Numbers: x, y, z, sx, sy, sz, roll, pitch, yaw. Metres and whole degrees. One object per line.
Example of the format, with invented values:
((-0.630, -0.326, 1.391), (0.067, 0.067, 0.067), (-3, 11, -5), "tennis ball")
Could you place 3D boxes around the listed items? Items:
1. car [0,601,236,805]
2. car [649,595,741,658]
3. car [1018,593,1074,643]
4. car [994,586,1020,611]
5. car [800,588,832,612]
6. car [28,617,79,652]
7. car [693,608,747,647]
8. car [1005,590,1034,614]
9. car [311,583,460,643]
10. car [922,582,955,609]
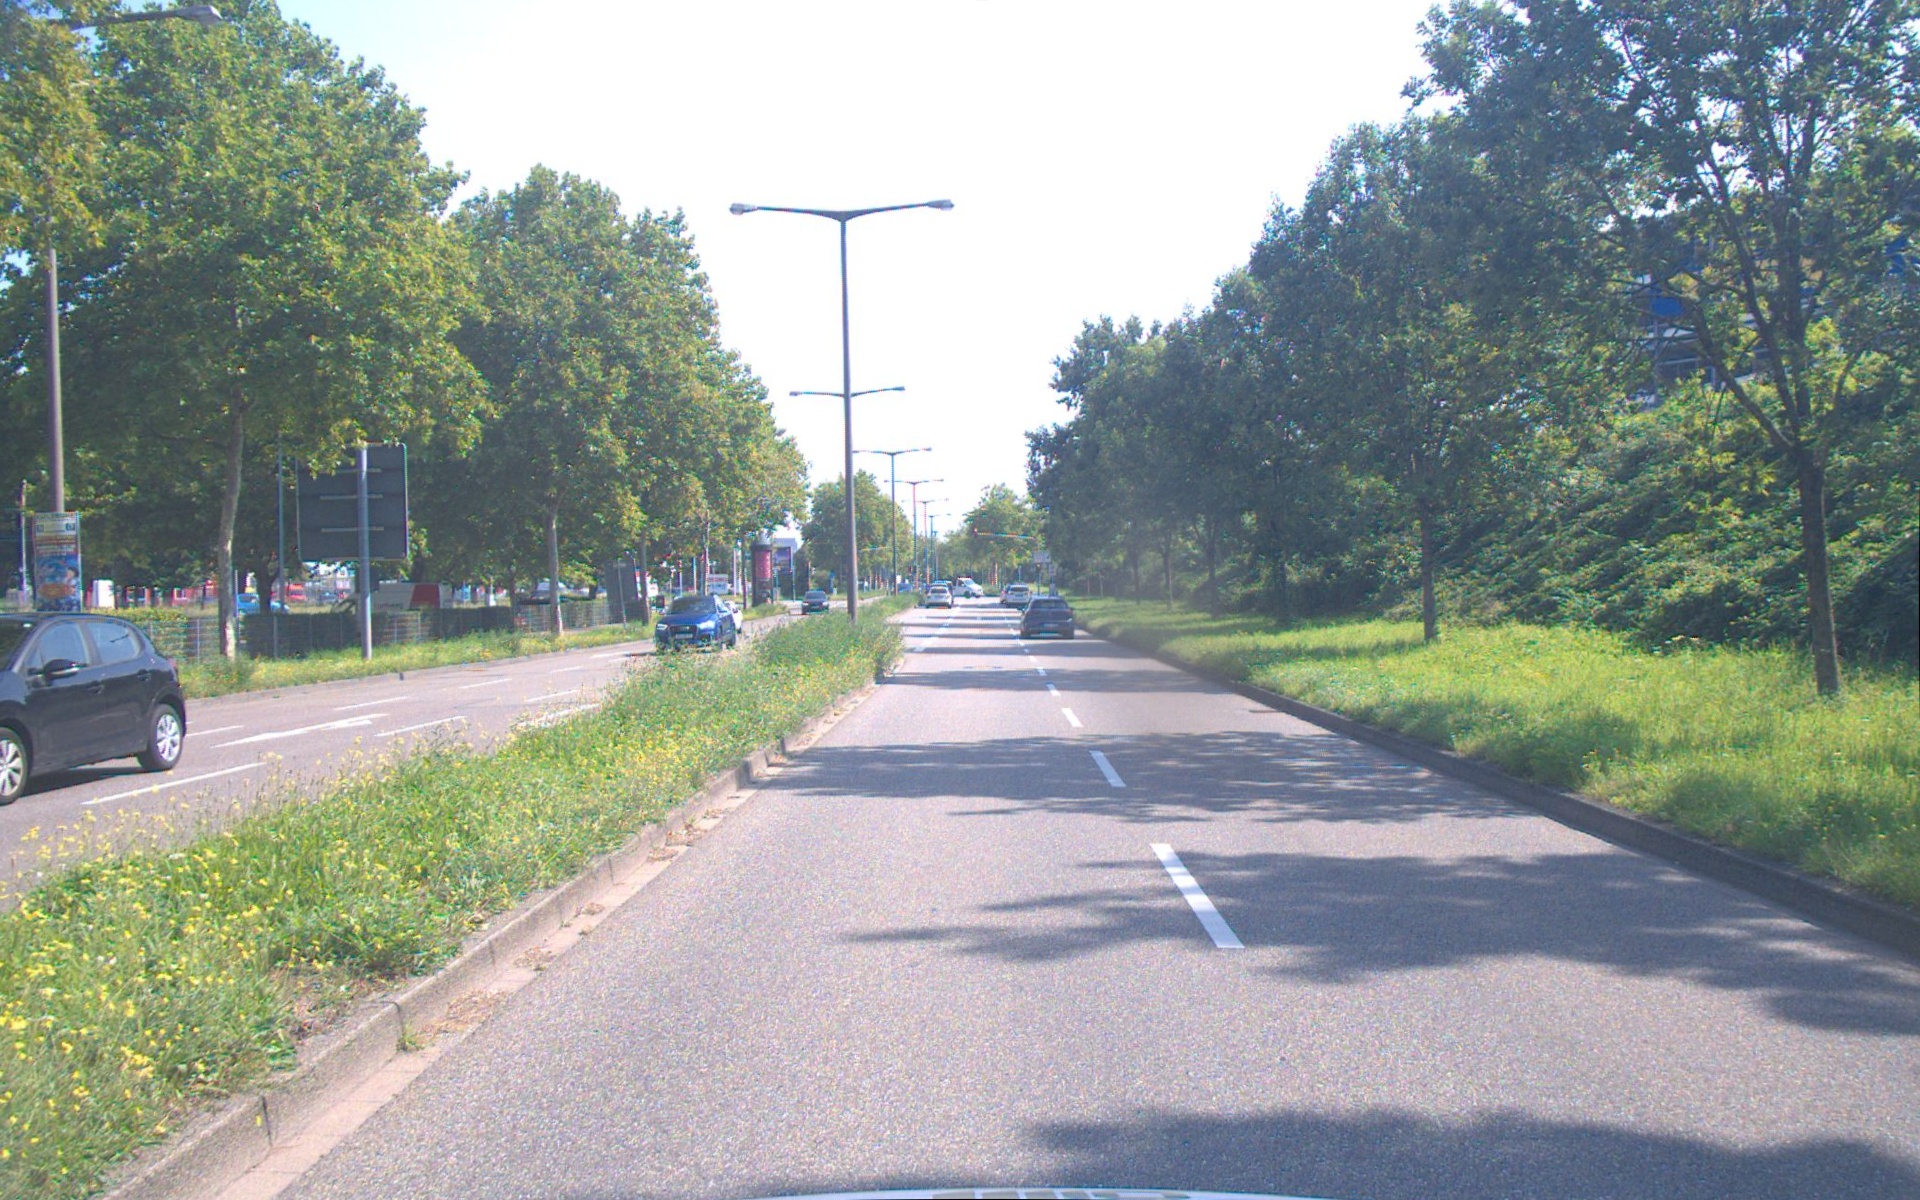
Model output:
((-8.031, 0.822, 14.099), (1.670, 1.515, 4.313), (-3, 0, 1), "car")
((-7.514, 0.706, 47.265), (1.953, 1.612, 4.345), (-3, 0, -1), "car")
((2.946, 0.589, 57.253), (1.744, 1.452, 4.002), (0, 3, 1), "car")
((3.844, -0.120, 135.462), (1.953, 1.682, 4.002), (-2, 4, -1), "car")
((-9.331, 0.011, 107.154), (1.759, 1.441, 4.408), (-3, 0, -2), "car")
((-46.127, 1.715, 84.156), (1.910, 1.477, 3.953), (-1, 3, -34), "car")
((-9.755, 1.115, 67.503), (1.760, 1.441, 4.406), (-3, 0, -4), "car")
((4.312, 0.168, 120.766), (1.953, 1.683, 4.000), (-2, 0, 0), "car")
((-24.233, 0.533, 69.897), (5.470, 2.377, 2.279), (0, 3, -1), "car")
((-1.462, -0.322, 113.682), (1.952, 1.731, 4.001), (-2, 0, 3), "car")
